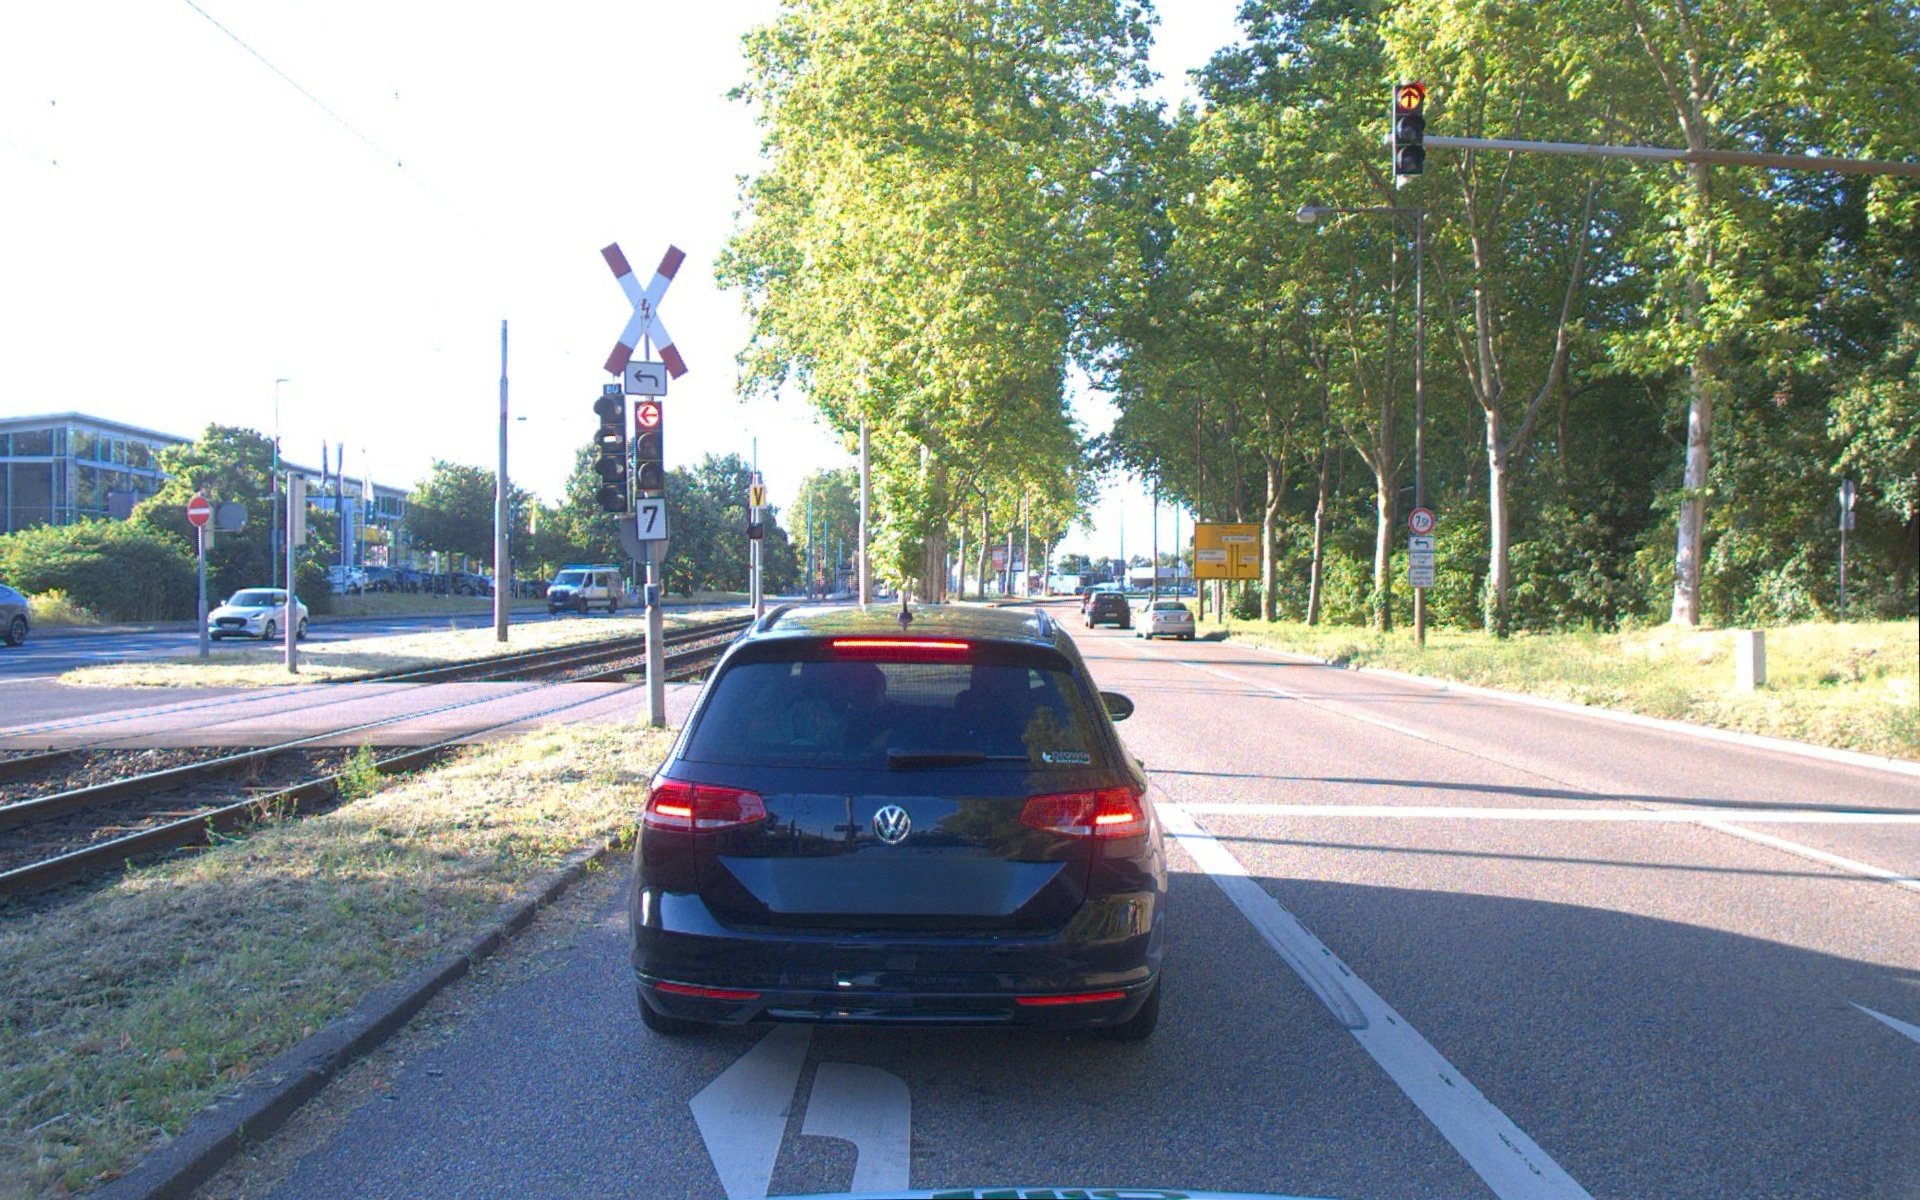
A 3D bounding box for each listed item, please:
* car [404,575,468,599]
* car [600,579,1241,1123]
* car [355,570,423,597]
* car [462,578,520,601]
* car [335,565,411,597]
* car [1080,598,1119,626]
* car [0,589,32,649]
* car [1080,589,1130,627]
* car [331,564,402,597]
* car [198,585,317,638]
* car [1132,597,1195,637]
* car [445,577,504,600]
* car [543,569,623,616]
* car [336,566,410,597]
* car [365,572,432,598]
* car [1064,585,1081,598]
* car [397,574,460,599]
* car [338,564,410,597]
[{"bbox_3d":[-36.042,-0.875,113.802,3.913,1.583,1.740,1,0,-9],"label":"car"},{"bbox_3d":[-0.140,0.697,6.393,1.758,1.490,3.582,1,0,-1],"label":"car"},{"bbox_3d":[-35.205,-0.987,101.934,3.930,1.583,1.732,1,0,-22],"label":"car"},{"bbox_3d":[-35.244,-0.777,124.472,3.909,1.649,1.742,1,0,-6],"label":"car"},{"bbox_3d":[-32.913,-1.053,92.717,3.930,1.734,1.732,1,0,-22],"label":"car"},{"bbox_3d":[8.720,0.747,103.011,1.832,1.663,4.374,0,0,12],"label":"car"},{"bbox_3d":[-25.276,0.472,41.251,1.823,1.507,4.172,1,1,1],"label":"car"},{"bbox_3d":[6.201,0.312,70.903,1.673,1.588,4.165,0,0,-2],"label":"car"},{"bbox_3d":[-35.551,-1.159,99.019,3.930,1.848,1.732,1,0,-22],"label":"car"},{"bbox_3d":[-21.050,0.318,49.749,1.824,1.507,4.091,1,1,0],"label":"car"},{"bbox_3d":[6.987,0.562,57.146,1.576,1.317,3.981,1,0,-2],"label":"car"},{"bbox_3d":[-35.574,-0.819,121.256,3.909,1.649,1.742,1,0,-6],"label":"car"},{"bbox_3d":[-20.787,-0.422,91.459,2.050,2.504,5.858,1,1,11],"label":"car"},{"bbox_3d":[-33.696,-1.063,94.956,3.930,1.734,1.732,1,0,-22],"label":"car"},{"bbox_3d":[-35.546,-0.961,104.712,3.930,1.583,1.732,1,0,-22],"label":"car"},{"bbox_3d":[13.235,-1.029,195.231,1.952,1.445,4.002,1,0,4],"label":"car"},{"bbox_3d":[-35.711,-0.895,111.107,3.930,1.583,1.732,1,0,-22],"label":"car"},{"bbox_3d":[-34.445,-1.127,97.281,3.930,1.848,1.732,1,0,-22],"label":"car"}]
